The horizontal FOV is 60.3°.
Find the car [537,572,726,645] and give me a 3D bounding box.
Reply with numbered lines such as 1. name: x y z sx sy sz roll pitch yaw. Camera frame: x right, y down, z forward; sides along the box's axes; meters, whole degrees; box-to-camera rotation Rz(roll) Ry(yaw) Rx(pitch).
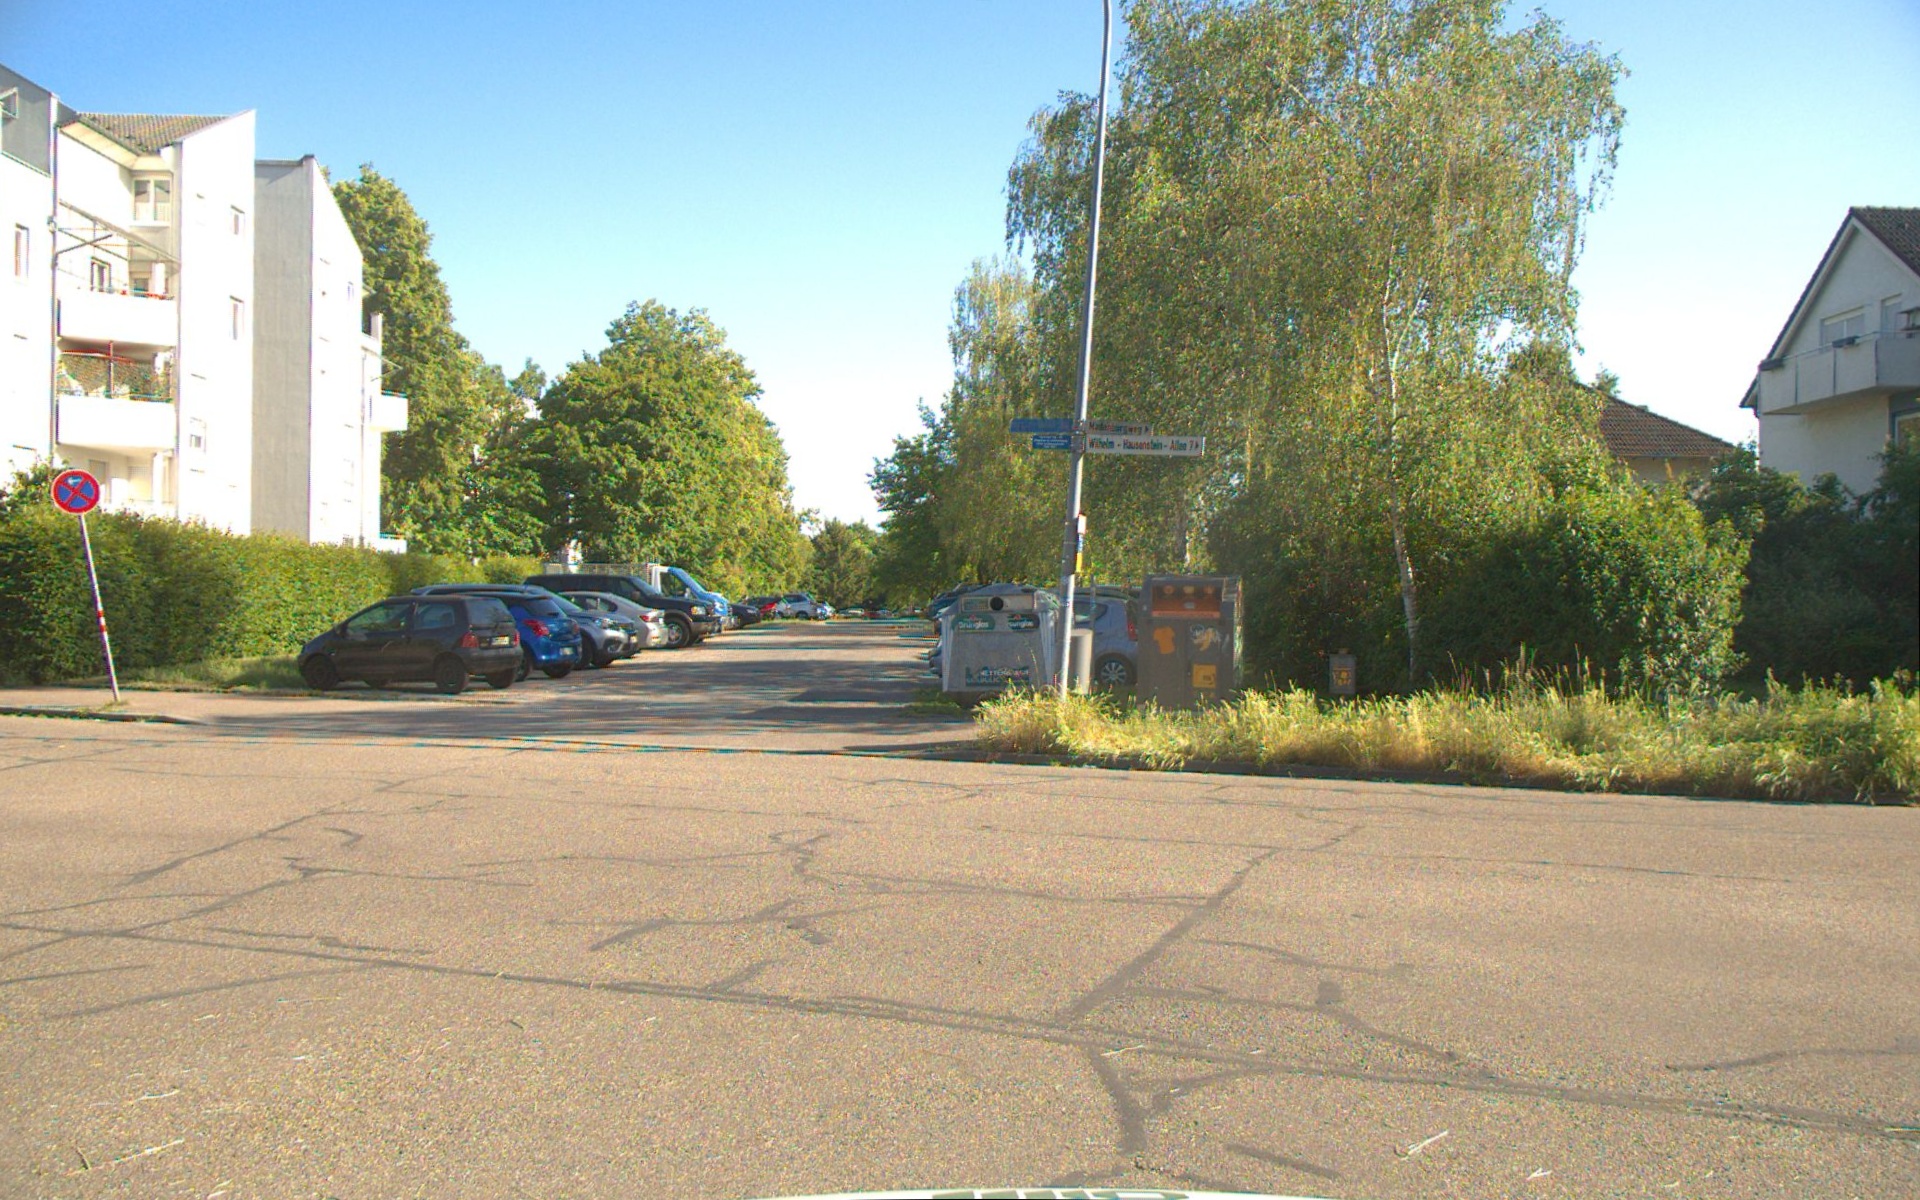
1. car: -8.402 0.202 42.576 4.427 1.802 1.848 0 0 4

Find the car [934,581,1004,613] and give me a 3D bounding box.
1. car: 0.528 -0.159 93.544 3.904 1.738 1.798 1 0 2

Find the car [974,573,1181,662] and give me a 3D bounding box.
1. car: 2.423 0.352 34.652 4.026 1.736 1.788 1 1 -8

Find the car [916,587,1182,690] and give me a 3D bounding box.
1. car: 1.438 0.585 26.191 3.966 1.464 1.636 1 0 12

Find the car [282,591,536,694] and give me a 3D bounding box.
1. car: -8.650 0.625 26.047 3.447 1.492 1.705 1 1 16

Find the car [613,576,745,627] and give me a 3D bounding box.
1. car: -10.124 0.060 59.724 4.429 1.802 1.847 0 0 0

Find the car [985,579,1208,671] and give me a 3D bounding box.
1. car: 2.578 0.464 31.715 3.975 1.631 1.789 1 1 -7

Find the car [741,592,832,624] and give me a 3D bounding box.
1. car: -7.626 0.334 72.884 3.860 1.357 1.846 0 0 -2

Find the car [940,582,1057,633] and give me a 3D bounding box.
1. car: 1.345 0.255 56.555 3.904 1.613 1.798 1 0 2

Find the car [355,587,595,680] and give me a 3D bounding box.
1. car: -8.340 0.560 28.556 3.601 1.522 1.653 0 0 12

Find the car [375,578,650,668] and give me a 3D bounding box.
1. car: -8.743 0.437 32.545 4.886 1.683 1.785 -1 0 4

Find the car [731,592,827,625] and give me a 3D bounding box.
1. car: -7.617 0.355 69.774 3.860 1.357 1.846 0 0 -2

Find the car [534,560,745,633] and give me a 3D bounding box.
1. car: -9.862 -0.098 51.367 6.131 2.184 2.409 0 0 -3

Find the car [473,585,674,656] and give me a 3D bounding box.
1. car: -8.484 0.444 36.535 4.061 1.480 1.618 -1 0 -3

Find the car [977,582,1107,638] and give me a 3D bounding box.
1. car: 2.508 0.294 50.811 3.904 1.613 1.798 1 0 2

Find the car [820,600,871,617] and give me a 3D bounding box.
1. car: -8.254 0.621 119.453 3.571 1.234 1.846 0 0 -2

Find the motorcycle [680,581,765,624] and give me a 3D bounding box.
1. motorcycle: -9.181 0.092 63.921 3.125 1.624 0.923 0 0 0

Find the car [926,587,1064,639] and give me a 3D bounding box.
1. car: 1.036 0.370 48.223 3.904 1.425 1.798 1 0 2

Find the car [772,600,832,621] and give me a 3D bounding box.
1. car: -10.514 0.674 110.388 3.860 1.357 1.846 0 0 -2

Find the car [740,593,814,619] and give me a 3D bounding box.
1. car: -9.990 0.311 90.334 3.860 1.357 1.846 0 0 -2

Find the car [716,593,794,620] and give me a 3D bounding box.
1. car: -10.745 0.344 86.943 3.860 1.357 1.846 0 0 -2

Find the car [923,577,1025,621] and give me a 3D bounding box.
1. car: 0.569 -0.028 64.985 3.904 1.613 1.798 1 0 2
